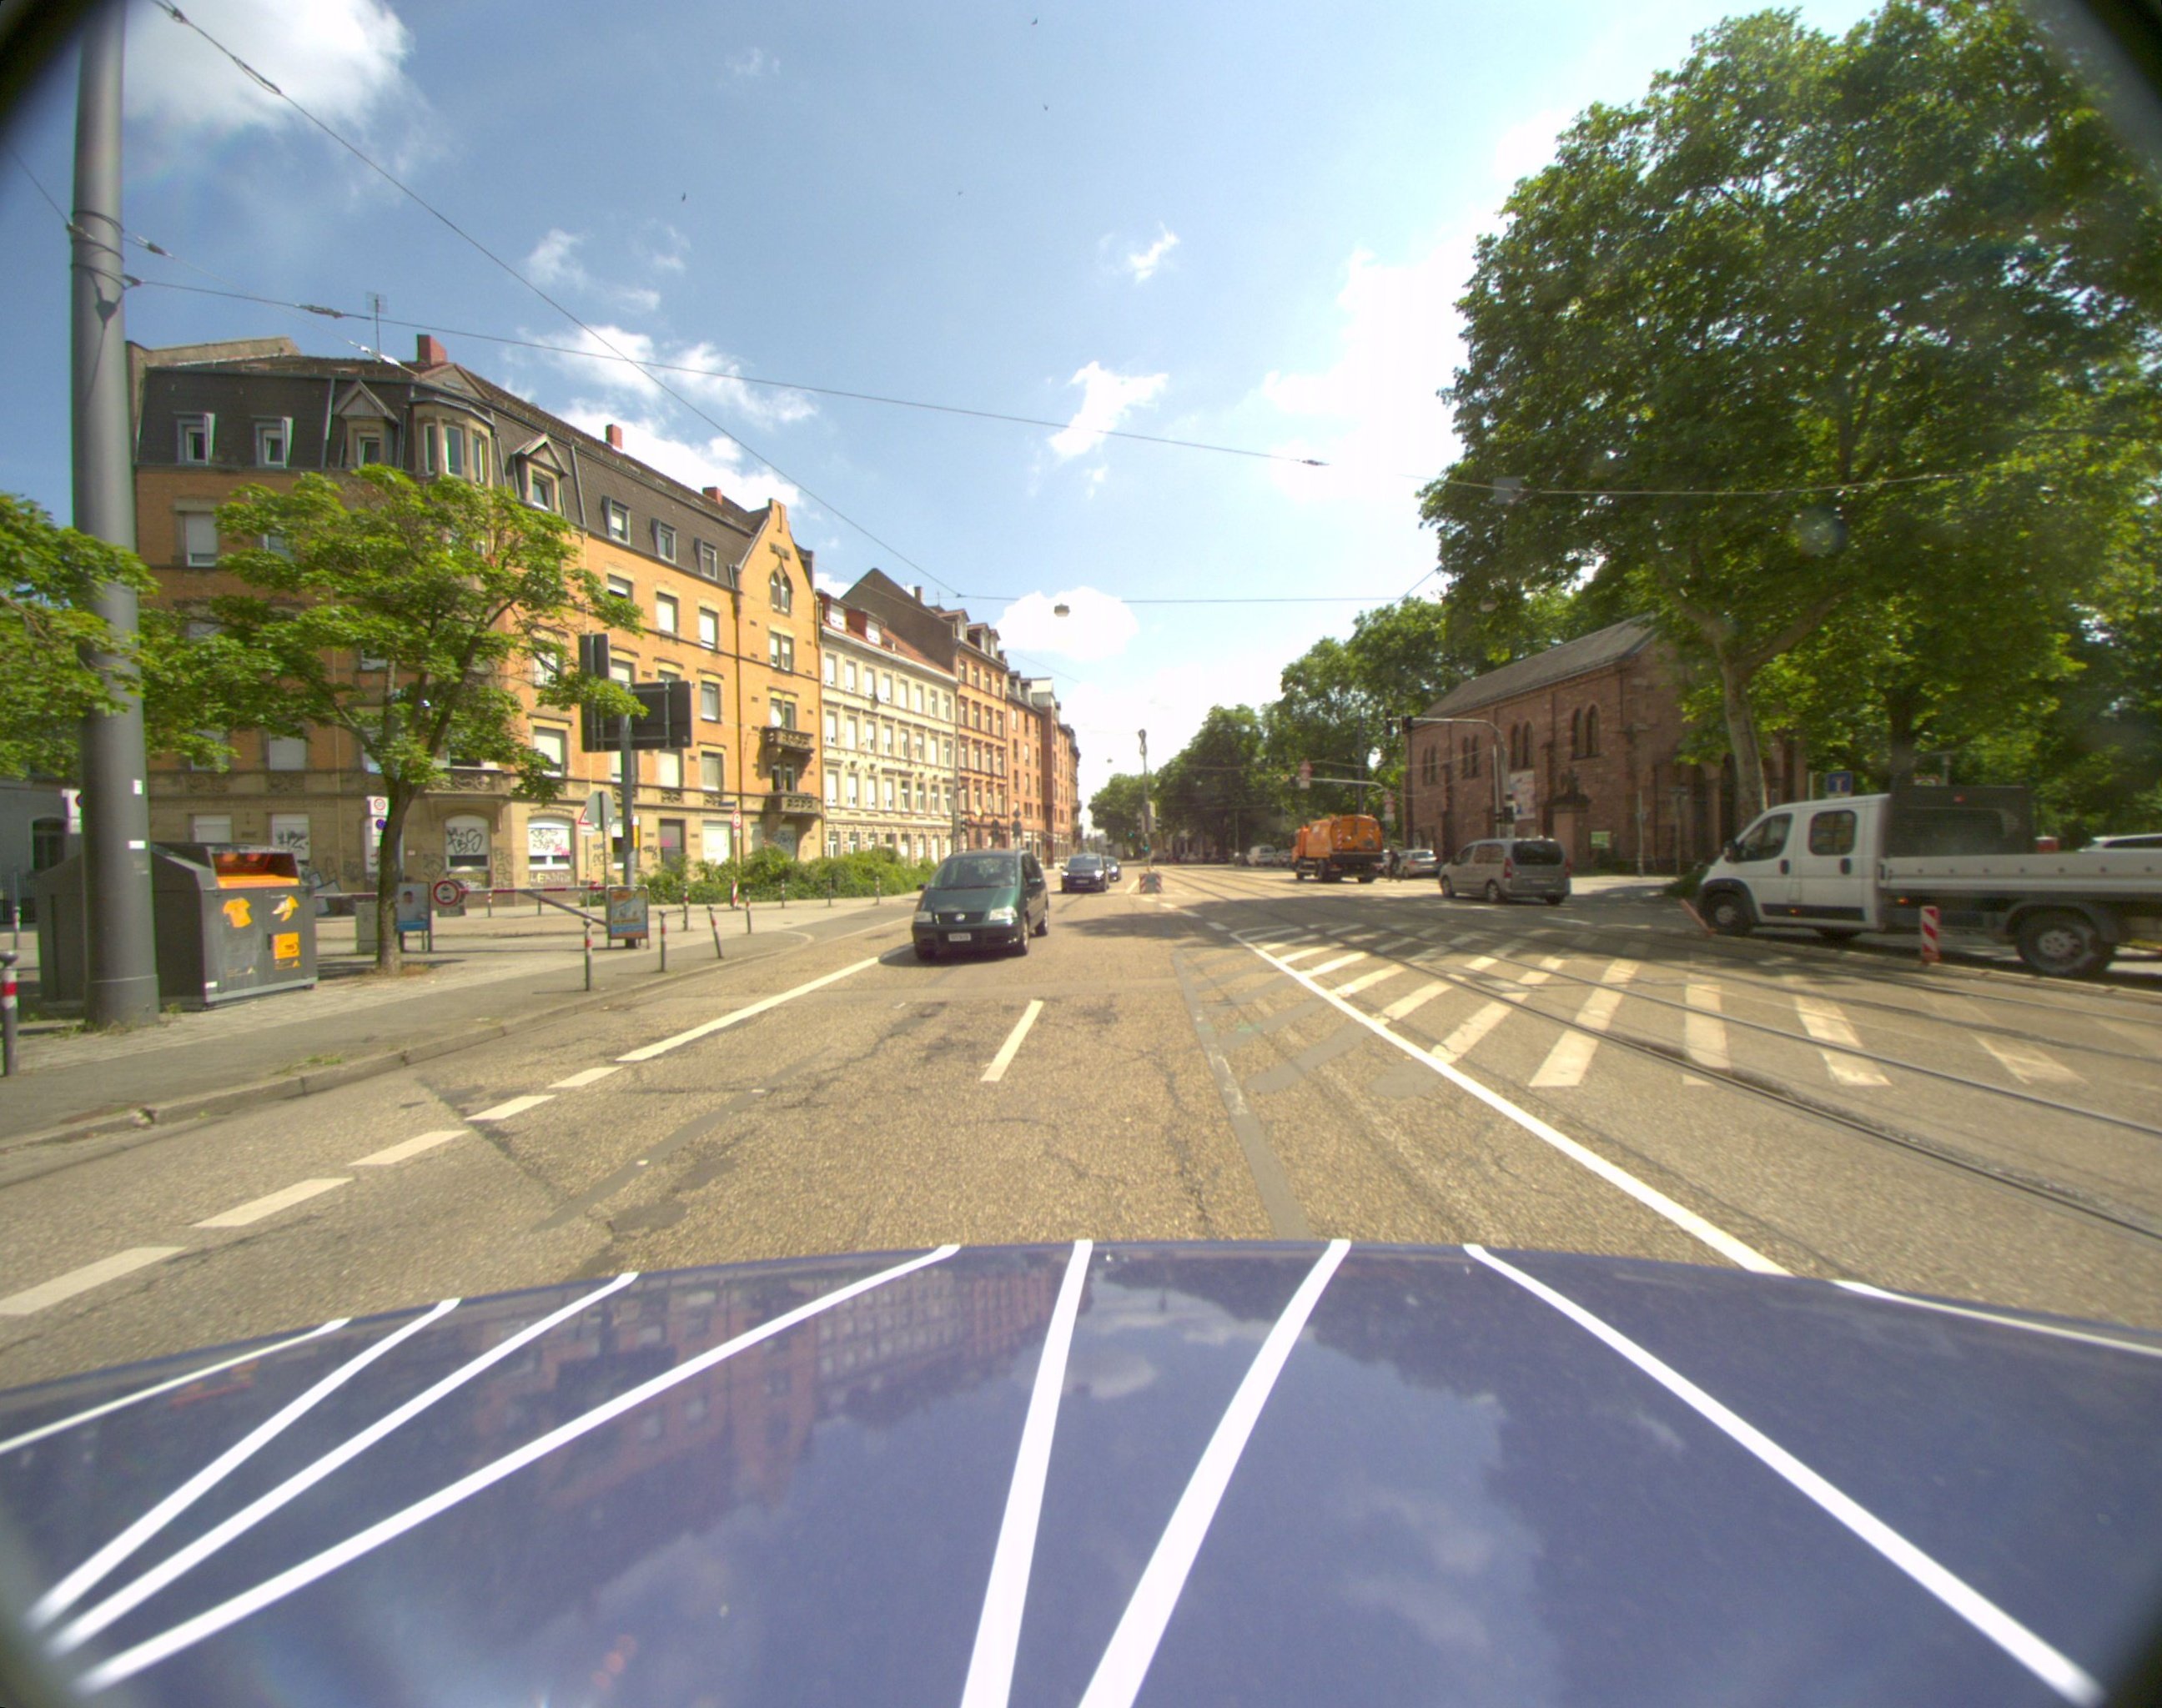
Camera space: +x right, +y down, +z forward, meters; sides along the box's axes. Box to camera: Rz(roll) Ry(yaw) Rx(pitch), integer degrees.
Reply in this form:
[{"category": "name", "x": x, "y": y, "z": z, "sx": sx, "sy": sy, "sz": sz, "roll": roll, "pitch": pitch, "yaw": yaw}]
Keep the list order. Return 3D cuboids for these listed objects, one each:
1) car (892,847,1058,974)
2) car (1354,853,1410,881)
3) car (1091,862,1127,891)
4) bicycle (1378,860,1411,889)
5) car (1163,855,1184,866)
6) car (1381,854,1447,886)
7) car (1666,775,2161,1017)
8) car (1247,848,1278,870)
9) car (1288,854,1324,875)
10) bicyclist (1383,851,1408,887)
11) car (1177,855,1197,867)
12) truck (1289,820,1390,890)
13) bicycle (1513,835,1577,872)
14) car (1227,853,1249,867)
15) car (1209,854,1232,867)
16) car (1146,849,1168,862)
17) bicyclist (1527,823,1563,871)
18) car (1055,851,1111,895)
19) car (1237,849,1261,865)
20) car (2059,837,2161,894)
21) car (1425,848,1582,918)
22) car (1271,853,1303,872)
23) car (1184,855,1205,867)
[{"category": "car", "x": -1.634, "y": 0.809, "z": 13.640, "sx": 1.822, "sy": 1.746, "sz": 5.032, "roll": -2, "pitch": 1, "yaw": 5}, {"category": "car", "x": 17.631, "y": 0.728, "z": 44.733, "sx": 1.761, "sy": 1.488, "sz": 4.000, "roll": -2, "pitch": 1, "yaw": 2}, {"category": "car", "x": 1.696, "y": 1.265, "z": 44.208, "sx": 1.914, "sy": 1.386, "sz": 4.313, "roll": -2, "pitch": 1, "yaw": 4}, {"category": "bicycle", "x": 15.038, "y": 0.976, "z": 36.500, "sx": 0.706, "sy": 1.282, "sz": 2.218, "roll": -1, "pitch": 0, "yaw": 1}, {"category": "car", "x": 14.088, "y": 0.998, "z": 116.231, "sx": 1.763, "sy": 1.488, "sz": 3.994, "roll": -3, "pitch": 1, "yaw": -15}, {"category": "car", "x": 17.507, "y": 0.788, "z": 40.143, "sx": 1.761, "sy": 1.488, "sz": 4.000, "roll": -2, "pitch": 1, "yaw": 2}, {"category": "car", "x": 11.590, "y": 0.451, "z": 10.036, "sx": 2.261, "sy": 2.359, "sz": 6.981, "roll": 0, "pitch": -1, "yaw": -1}, {"category": "car", "x": 17.952, "y": 0.463, "z": 75.259, "sx": 1.993, "sy": 1.992, "sz": 4.084, "roll": -3, "pitch": 1, "yaw": -1}, {"category": "car", "x": 17.965, "y": 0.785, "z": 60.895, "sx": 1.761, "sy": 1.488, "sz": 4.000, "roll": -2, "pitch": 1, "yaw": 2}, {"category": "bicyclist", "x": 15.041, "y": 0.692, "z": 36.390, "sx": 0.703, "sy": 1.676, "sz": 1.176, "roll": -1, "pitch": 1, "yaw": 1}, {"category": "car", "x": 15.141, "y": 0.968, "z": 109.080, "sx": 1.762, "sy": 1.488, "sz": 3.997, "roll": -3, "pitch": 1, "yaw": -8}, {"category": "truck", "x": 12.420, "y": 0.014, "z": 37.239, "sx": 2.645, "sy": 3.088, "sz": 7.222, "roll": 0, "pitch": 1, "yaw": 2}, {"category": "bicycle", "x": 17.868, "y": -0.026, "z": 29.272, "sx": 2.088, "sy": 1.282, "sz": 0.671, "roll": -4, "pitch": 1, "yaw": -6}, {"category": "car", "x": 17.796, "y": 0.662, "z": 86.406, "sx": 1.761, "sy": 1.488, "sz": 4.000, "roll": -2, "pitch": 1, "yaw": 2}, {"category": "car", "x": 17.208, "y": 0.828, "z": 93.795, "sx": 1.762, "sy": 1.488, "sz": 3.998, "roll": -3, "pitch": 1, "yaw": -5}, {"category": "car", "x": 13.028, "y": 0.293, "z": 130.637, "sx": 1.765, "sy": 2.172, "sz": 3.991, "roll": -3, "pitch": 1, "yaw": -28}, {"category": "bicyclist", "x": 17.869, "y": -0.257, "z": 29.272, "sx": 0.884, "sy": 1.774, "sz": 0.662, "roll": -4, "pitch": 1, "yaw": -6}, {"category": "car", "x": 0.157, "y": 0.749, "z": 31.938, "sx": 1.874, "sy": 1.610, "sz": 4.190, "roll": -2, "pitch": 1, "yaw": 6}, {"category": "car", "x": 17.726, "y": 0.296, "z": 80.267, "sx": 1.761, "sy": 1.488, "sz": 4.000, "roll": -2, "pitch": 1, "yaw": 2}, {"category": "car", "x": 31.684, "y": 0.306, "z": 21.691, "sx": 1.764, "sy": 1.599, "sz": 4.400, "roll": -1, "pitch": 1, "yaw": -29}, {"category": "car", "x": 11.729, "y": 0.716, "z": 21.515, "sx": 1.925, "sy": 1.736, "sz": 4.537, "roll": 1, "pitch": 1, "yaw": 1}, {"category": "car", "x": 17.926, "y": 0.722, "z": 66.265, "sx": 1.761, "sy": 1.488, "sz": 4.000, "roll": -2, "pitch": 1, "yaw": 2}, {"category": "car", "x": 15.670, "y": 0.939, "z": 104.719, "sx": 1.762, "sy": 1.488, "sz": 3.997, "roll": -3, "pitch": 1, "yaw": -7}]
